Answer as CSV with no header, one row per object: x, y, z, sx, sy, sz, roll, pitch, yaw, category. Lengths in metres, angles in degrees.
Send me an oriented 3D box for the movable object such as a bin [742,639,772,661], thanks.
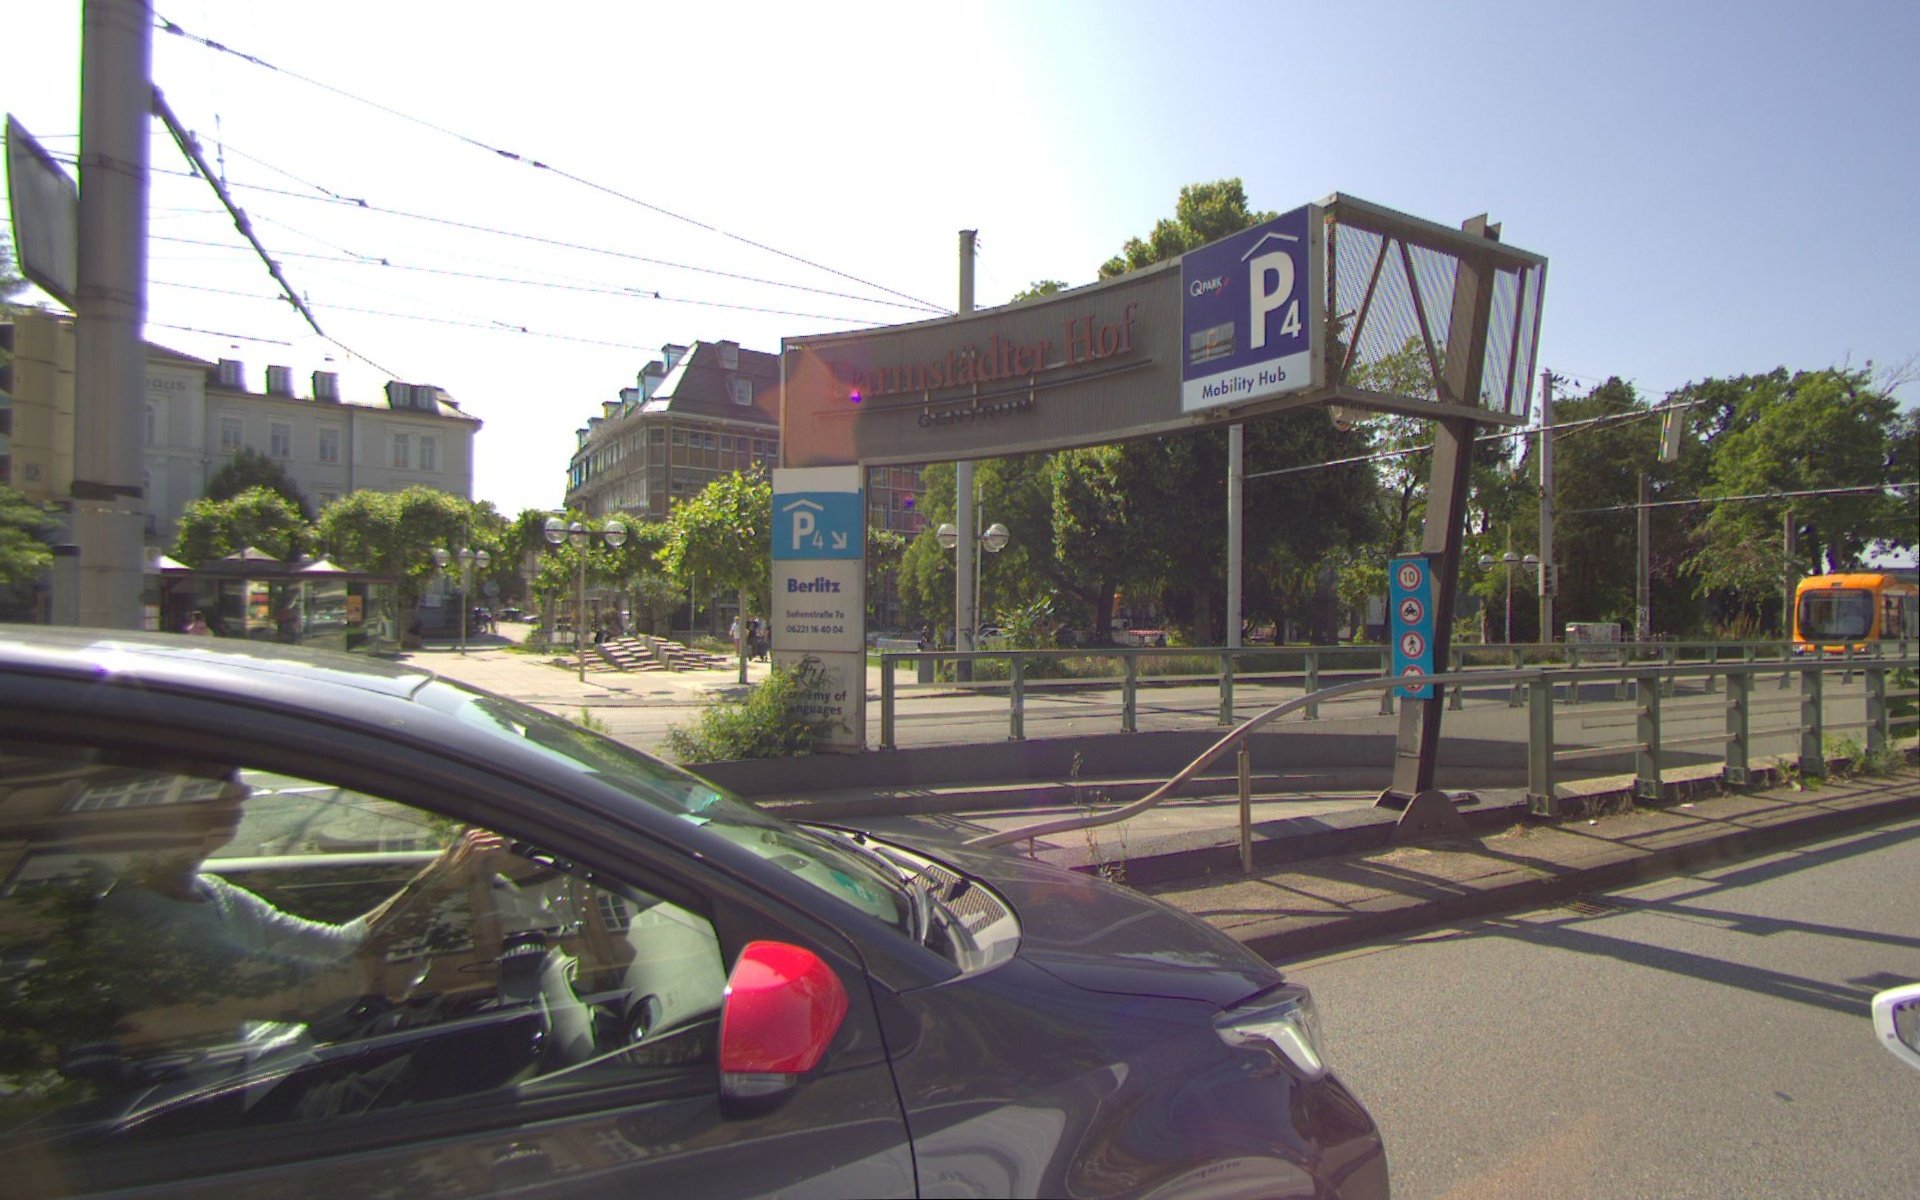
-7.221,1.776,35.693,0.790,0.764,0.903,0,-3,-29,movable object such as a bin

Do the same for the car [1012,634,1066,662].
6.074,3.686,77.233,3.601,2.040,1.984,1,1,-31,car

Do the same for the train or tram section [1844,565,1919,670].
35.532,0.652,37.012,6.032,3.629,2.600,1,1,-31,train or tram section

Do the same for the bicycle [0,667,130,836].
-7.068,1.045,6.983,1.852,1.135,0.814,1,-4,-30,bicycle

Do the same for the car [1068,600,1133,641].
12.219,1.782,87.132,5.358,3.360,2.116,1,1,-31,car

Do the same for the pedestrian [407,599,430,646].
-23.696,0.994,43.945,0.822,2.034,0.598,1,-3,-32,pedestrian

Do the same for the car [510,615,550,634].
-48.729,2.768,113.856,3.953,1.940,1.984,2,1,-30,car

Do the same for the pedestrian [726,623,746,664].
-8.889,1.732,39.939,0.615,1.630,0.488,1,-3,-40,pedestrian

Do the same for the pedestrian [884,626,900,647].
-4.150,2.215,61.261,0.655,1.279,0.744,1,-3,-42,pedestrian

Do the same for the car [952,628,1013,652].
1.553,2.793,69.818,3.961,1.528,1.743,1,1,-36,car

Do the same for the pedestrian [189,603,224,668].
-20.299,0.959,27.060,0.674,1.728,0.697,2,-3,-42,pedestrian

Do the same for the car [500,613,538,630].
-52.725,2.572,120.121,3.953,1.940,1.984,2,1,-30,car

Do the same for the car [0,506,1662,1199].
-1.030,0.710,1.457,3.950,1.494,1.770,1,-2,-28,car

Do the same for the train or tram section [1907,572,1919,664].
40.398,0.786,39.890,5.294,3.629,2.600,1,1,-31,train or tram section

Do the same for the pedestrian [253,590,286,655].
-21.855,0.728,31.786,0.726,2.034,0.627,0,-2,-25,pedestrian

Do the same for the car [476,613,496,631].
-54.792,2.543,116.082,1.975,1.940,3.970,1,1,-28,car

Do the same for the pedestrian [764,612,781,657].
-6.958,1.283,37.313,0.490,1.630,0.410,1,-3,-39,pedestrian

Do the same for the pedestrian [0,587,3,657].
-28.264,0.627,29.132,0.537,2.034,0.629,-2,-3,38,pedestrian

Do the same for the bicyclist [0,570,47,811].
-7.091,0.639,6.997,0.892,1.643,0.814,0,-4,-30,bicyclist

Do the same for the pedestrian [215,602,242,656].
-24.007,0.960,32.960,0.612,1.751,0.737,1,-3,-31,pedestrian

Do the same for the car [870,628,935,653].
-3.771,2.665,65.949,3.961,1.528,1.743,1,1,-36,car

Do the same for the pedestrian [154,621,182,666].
-25.259,1.385,32.036,0.591,1.409,0.565,1,-3,-31,pedestrian

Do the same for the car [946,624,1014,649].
1.452,2.631,72.534,4.797,1.685,1.743,1,1,-36,car

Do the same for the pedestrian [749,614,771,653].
-7.798,1.298,39.122,0.655,1.512,0.521,1,-3,-38,pedestrian

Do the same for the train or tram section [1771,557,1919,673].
30.374,0.511,33.921,6.032,3.629,2.600,1,1,-31,train or tram section

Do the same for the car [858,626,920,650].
-4.842,2.591,68.706,3.961,1.528,1.743,1,1,-36,car

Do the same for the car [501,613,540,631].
-51.713,2.625,118.145,3.953,1.940,1.984,2,1,-30,car

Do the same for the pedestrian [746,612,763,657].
-7.503,1.246,36.688,0.460,1.630,0.449,0,-3,-30,pedestrian

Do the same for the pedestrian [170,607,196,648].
-26.099,0.936,33.735,0.591,1.377,0.565,1,-3,-31,pedestrian
